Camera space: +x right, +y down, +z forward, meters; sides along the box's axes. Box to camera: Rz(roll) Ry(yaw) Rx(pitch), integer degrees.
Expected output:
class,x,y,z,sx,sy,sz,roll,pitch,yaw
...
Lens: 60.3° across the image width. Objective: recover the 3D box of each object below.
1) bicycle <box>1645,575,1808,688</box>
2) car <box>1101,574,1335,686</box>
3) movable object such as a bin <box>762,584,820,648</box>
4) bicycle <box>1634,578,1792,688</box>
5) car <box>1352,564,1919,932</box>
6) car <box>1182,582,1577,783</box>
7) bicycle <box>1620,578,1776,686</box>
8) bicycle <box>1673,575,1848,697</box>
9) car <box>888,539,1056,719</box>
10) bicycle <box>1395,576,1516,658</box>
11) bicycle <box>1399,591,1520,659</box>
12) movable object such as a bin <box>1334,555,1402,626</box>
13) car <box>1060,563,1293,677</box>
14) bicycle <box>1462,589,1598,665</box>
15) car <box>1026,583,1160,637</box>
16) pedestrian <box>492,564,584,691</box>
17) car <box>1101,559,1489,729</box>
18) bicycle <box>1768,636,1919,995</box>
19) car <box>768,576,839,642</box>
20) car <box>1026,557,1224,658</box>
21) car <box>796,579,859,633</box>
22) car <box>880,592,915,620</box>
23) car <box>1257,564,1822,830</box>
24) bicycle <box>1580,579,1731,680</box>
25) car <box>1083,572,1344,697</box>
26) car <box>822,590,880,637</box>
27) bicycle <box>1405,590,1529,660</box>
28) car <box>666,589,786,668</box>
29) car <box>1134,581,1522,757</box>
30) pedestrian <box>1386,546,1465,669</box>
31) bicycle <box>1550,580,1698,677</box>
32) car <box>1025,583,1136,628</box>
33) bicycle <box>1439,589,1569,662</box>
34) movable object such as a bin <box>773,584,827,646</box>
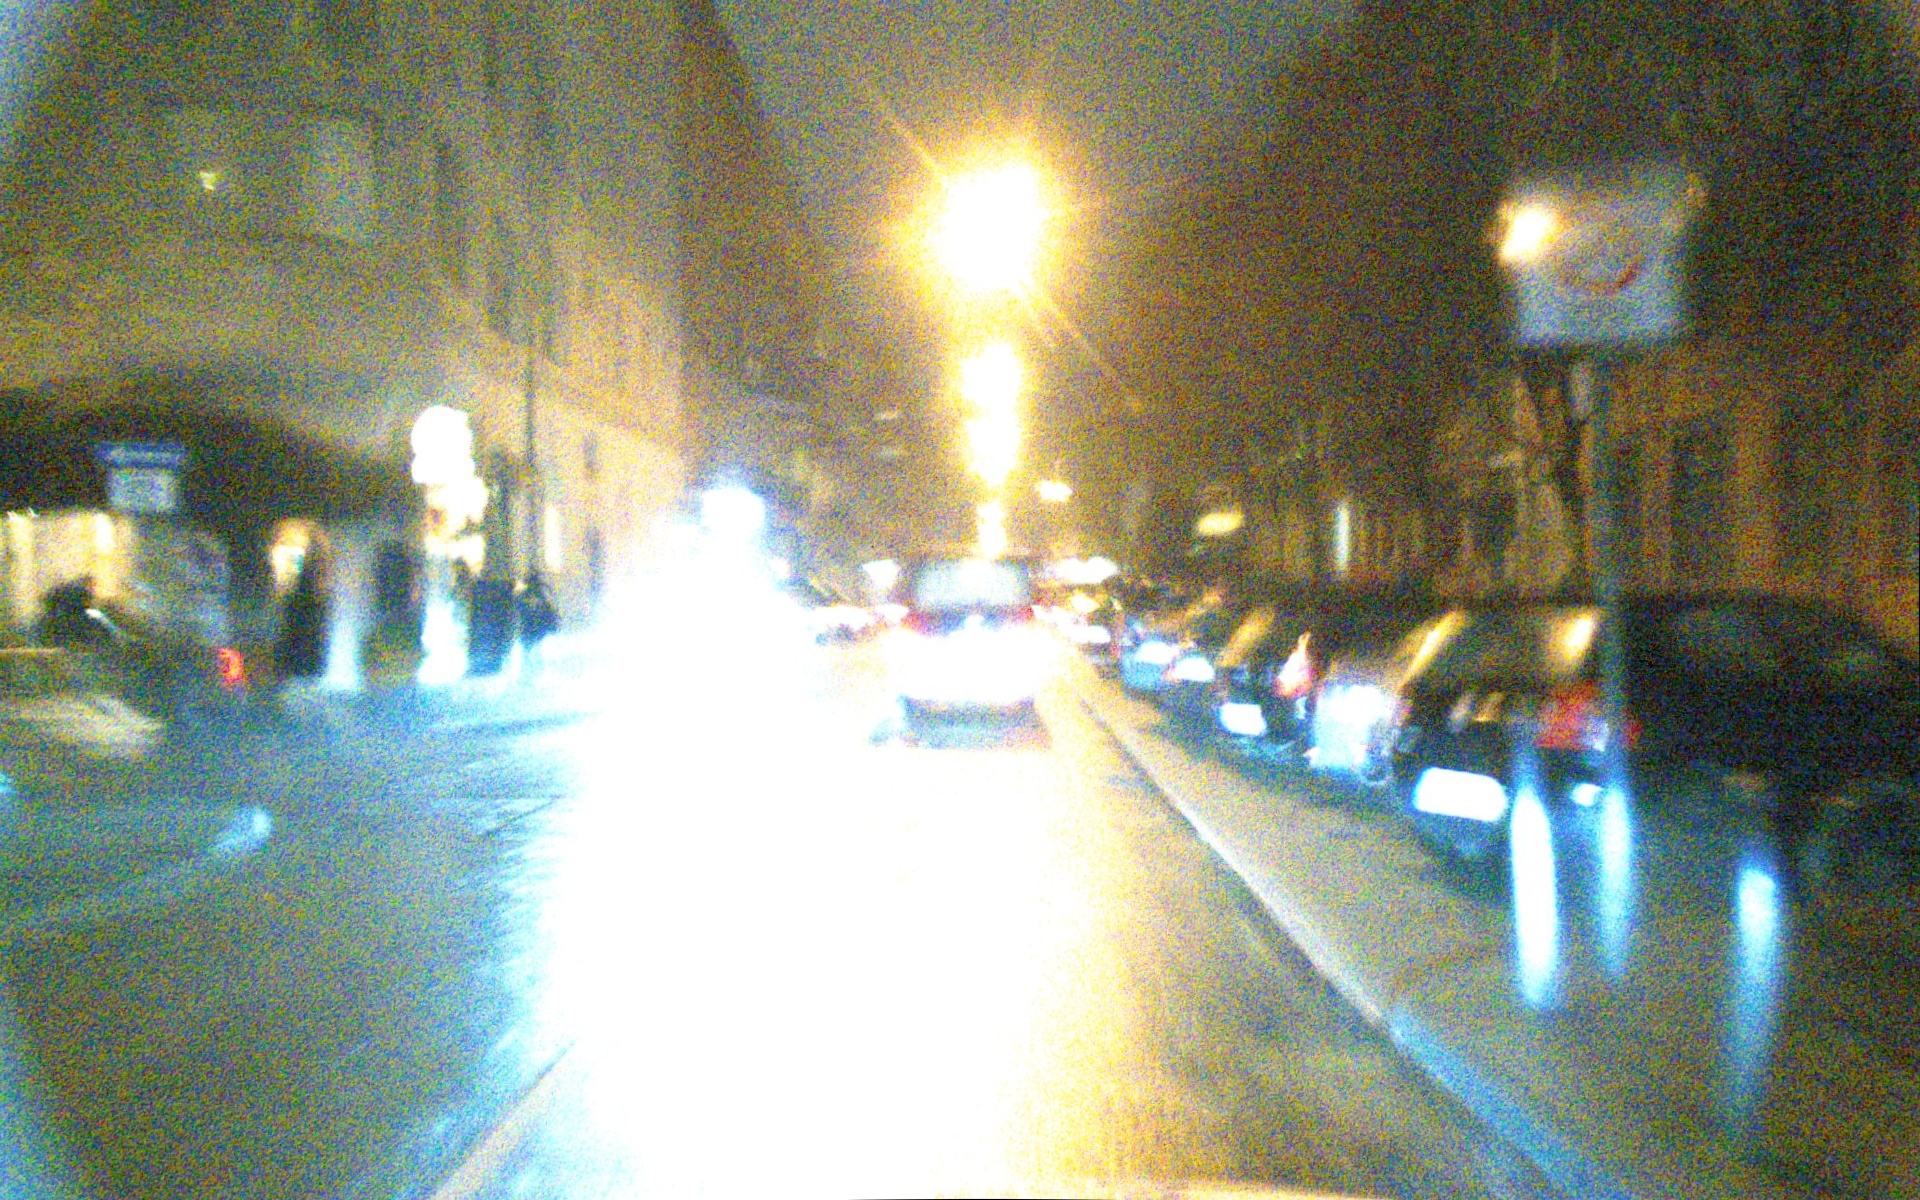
class,x,y,z,sx,sy,sz,roll,pitch,yaw
bicycle,8.623,0.348,18.613,1.653,1.166,0.428,-3,1,-8
car,4.356,0.476,27.788,3.727,1.758,1.698,1,0,-33
movable object such as a bin,-4.050,0.373,39.653,1.183,1.485,1.107,2,0,3
bicycle,8.735,0.372,19.188,1.653,1.166,0.428,-3,1,-8
car,4.082,0.625,8.767,3.653,1.549,1.644,-2,0,-25
car,3.599,0.659,14.257,2.995,1.579,1.496,1,0,-21
bicycle,8.797,0.371,19.722,1.653,1.166,0.485,-3,1,-8
bicycle,8.421,0.366,17.408,1.653,1.166,0.428,-3,1,-8
car,0.172,0.349,21.354,1.952,2.086,4.000,0,0,1
bicycle,8.897,0.305,29.766,1.930,1.358,0.783,-3,0,7
bicycle,8.712,0.438,28.860,1.934,1.073,0.509,-3,0,-6
movable object such as a bin,9.186,-0.214,37.270,1.184,1.476,0.999,-4,0,1
car,4.040,0.340,30.575,4.199,1.891,1.696,-2,0,-35
bicycle,8.875,0.410,25.774,1.934,1.073,0.509,-3,0,-6
car,4.183,0.292,51.702,3.953,1.579,1.783,-1,0,-34
pedestrian,-6.133,0.388,24.078,1.109,1.813,0.788,0,0,1
car,3.844,0.477,19.021,4.036,1.795,1.847,1,0,-22
bicycle,3.985,0.721,5.894,1.849,1.178,0.680,-2,1,3
car,-4.323,0.223,46.041,1.570,1.736,3.721,1,0,0
car,4.041,0.145,40.070,4.672,2.287,1.922,-1,0,-36
car,-4.108,0.166,51.799,1.570,1.579,4.026,1,1,1
car,-3.379,0.309,89.969,1.554,1.508,3.794,1,0,2
car,4.115,0.590,11.737,3.653,1.549,1.644,-2,0,-25
bicycle,8.804,0.368,20.969,1.653,1.166,0.596,-3,1,-8
car,3.868,0.481,25.073,3.757,1.758,1.721,0,1,-34
car,-3.709,0.427,57.032,1.651,1.481,4.316,1,1,1
bicycle,8.670,0.424,28.300,1.934,1.073,0.509,-3,0,-6
car,-4.351,0.494,31.333,1.620,1.383,4.222,0,0,1
car,3.721,0.655,16.820,3.503,1.639,1.702,1,0,-21
pedestrian,7.493,0.124,26.661,0.822,1.867,0.947,-5,-1,-3
bicycle,8.720,0.362,21.737,1.653,1.166,0.664,-3,1,-8
car,4.284,0.202,58.882,3.622,1.486,1.593,-2,0,-23
bicycle,8.873,0.415,26.995,1.934,1.073,0.509,-3,0,-6
movable object such as a bin,-3.942,0.359,40.846,1.140,1.485,1.107,2,0,3
